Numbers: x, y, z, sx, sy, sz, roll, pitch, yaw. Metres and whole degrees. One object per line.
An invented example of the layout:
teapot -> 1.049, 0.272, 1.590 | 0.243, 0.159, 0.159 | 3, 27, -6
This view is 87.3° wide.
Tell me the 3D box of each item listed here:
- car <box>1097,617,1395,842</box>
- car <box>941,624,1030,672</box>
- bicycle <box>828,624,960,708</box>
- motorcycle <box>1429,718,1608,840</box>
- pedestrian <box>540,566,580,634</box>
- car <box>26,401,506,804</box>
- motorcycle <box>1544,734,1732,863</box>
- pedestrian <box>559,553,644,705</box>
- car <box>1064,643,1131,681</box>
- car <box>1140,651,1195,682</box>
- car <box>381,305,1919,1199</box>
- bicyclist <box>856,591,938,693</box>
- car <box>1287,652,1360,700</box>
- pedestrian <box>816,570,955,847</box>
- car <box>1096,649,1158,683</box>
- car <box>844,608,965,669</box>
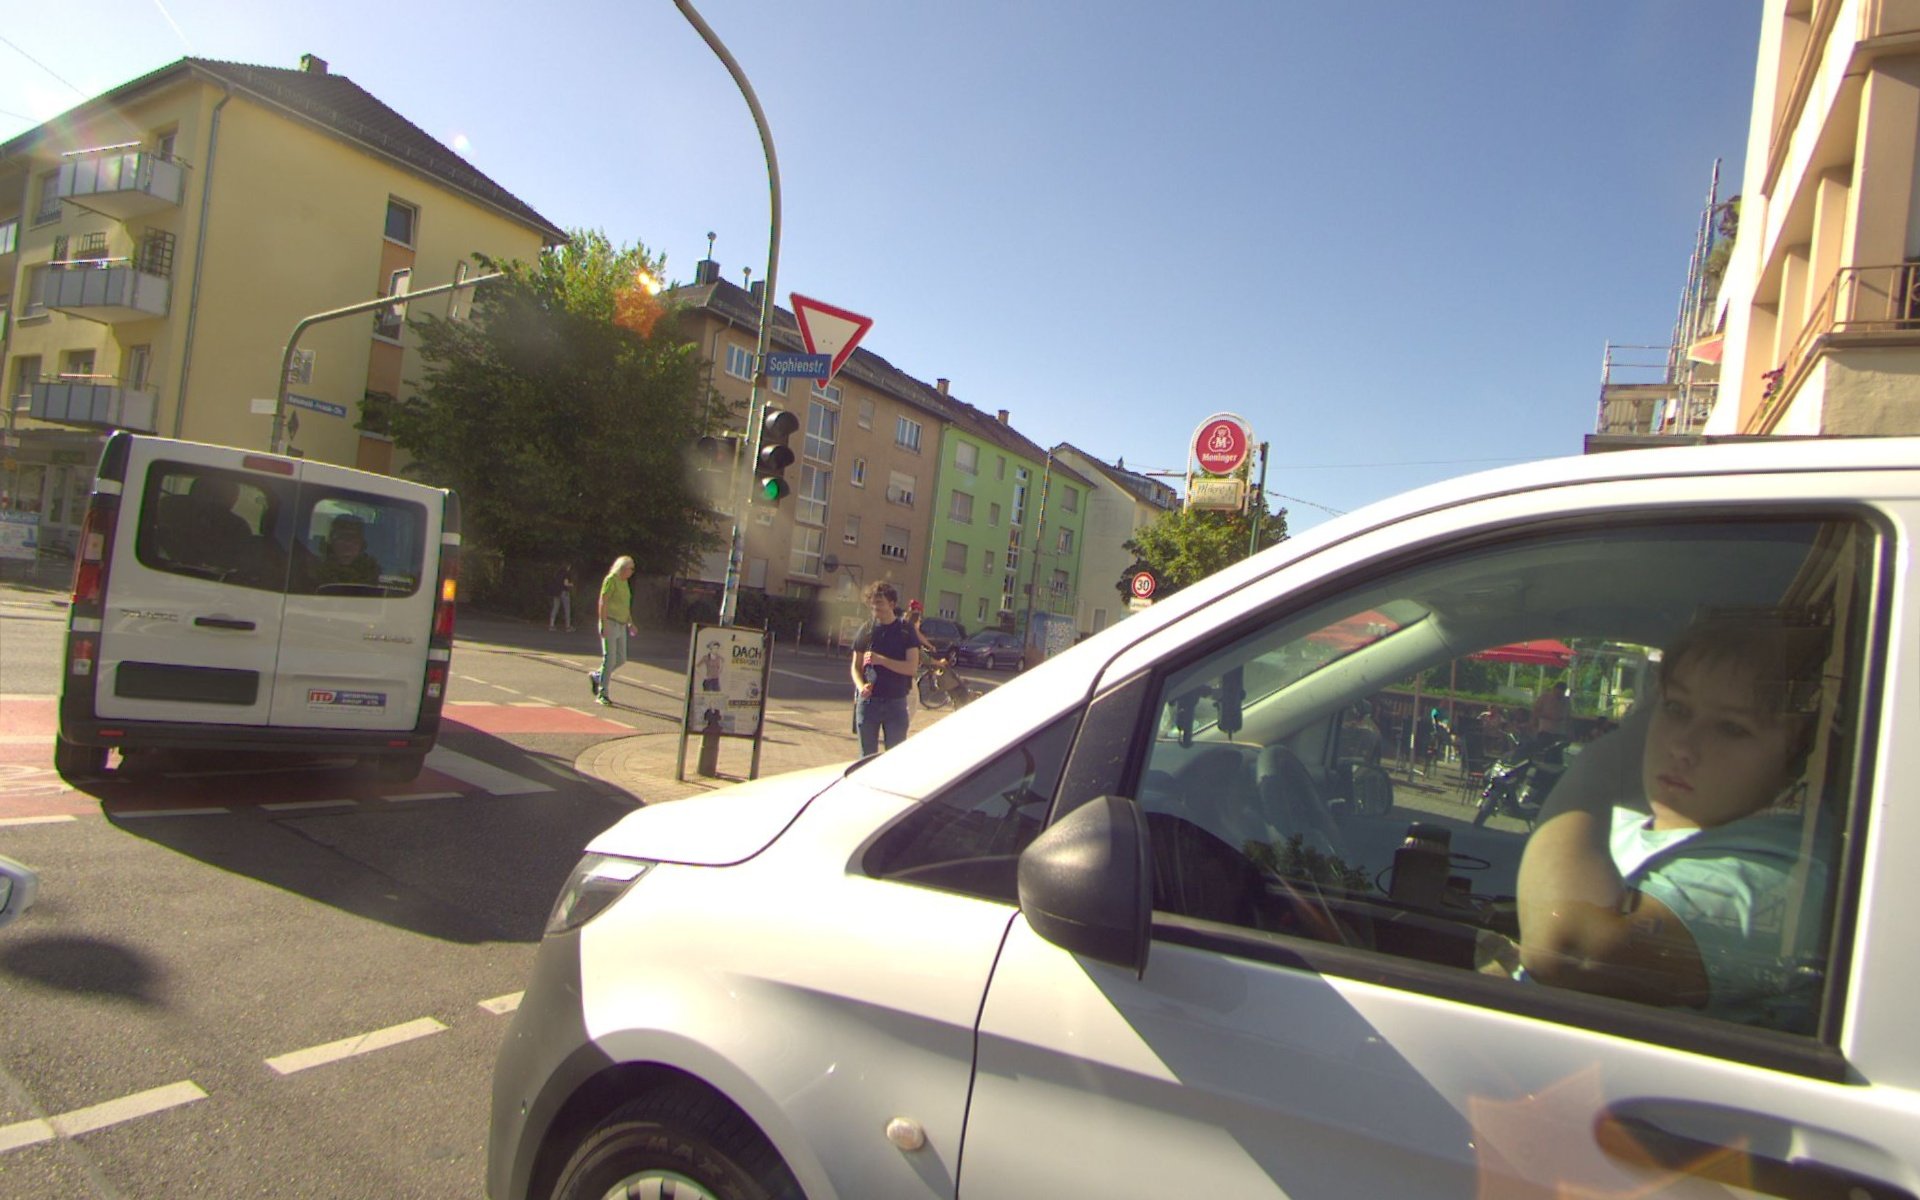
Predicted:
car -> 3.162, 1.256, 10.490 | 1.795, 1.682, 3.993 | 7, -1, 32
car -> 0.995, 1.830, 37.923 | 1.658, 1.429, 3.516 | 7, -1, 32
bicycle -> -1.175, 1.180, 17.973 | 2.111, 1.269, 0.800 | 8, -3, -24
motorcycle -> 6.475, 2.075, 11.652 | 1.986, 1.180, 0.565 | 8, 0, -21
pedestrian -> -9.843, -0.005, 24.764 | 0.530, 1.590, 0.539 | 7, 0, 32
car -> -5.193, 0.013, 7.486 | 1.960, 1.961, 5.003 | 9, -3, -38
motorcycle -> 7.420, 2.174, 10.991 | 1.986, 1.180, 0.565 | 8, 0, -21
pedestrian -> -4.398, 0.361, 12.351 | 0.613, 1.783, 0.526 | 7, 0, 30
car -> 6.397, 2.898, 46.616 | 1.658, 1.429, 3.516 | 7, -1, 32
car -> 11.323, 3.651, 54.707 | 1.658, 1.352, 3.516 | 7, -1, 33
car -> 1.513, 0.784, 1.501 | 4.752, 1.832, 1.972 | 6, -1, 31
bicyclist -> -1.134, 0.753, 18.000 | 1.111, 1.668, 0.800 | 7, -3, -24
car -> 13.772, 2.896, 37.997 | 1.686, 1.470, 3.993 | 7, -1, 32
pedestrian -> -0.522, 0.757, 7.250 | 0.594, 1.844, 0.629 | 7, 0, 17
car -> 8.333, 3.298, 49.943 | 1.658, 1.352, 3.515 | 7, -1, 33
car -> -1.785, 1.332, 33.607 | 1.967, 1.592, 3.993 | 7, -1, 32
